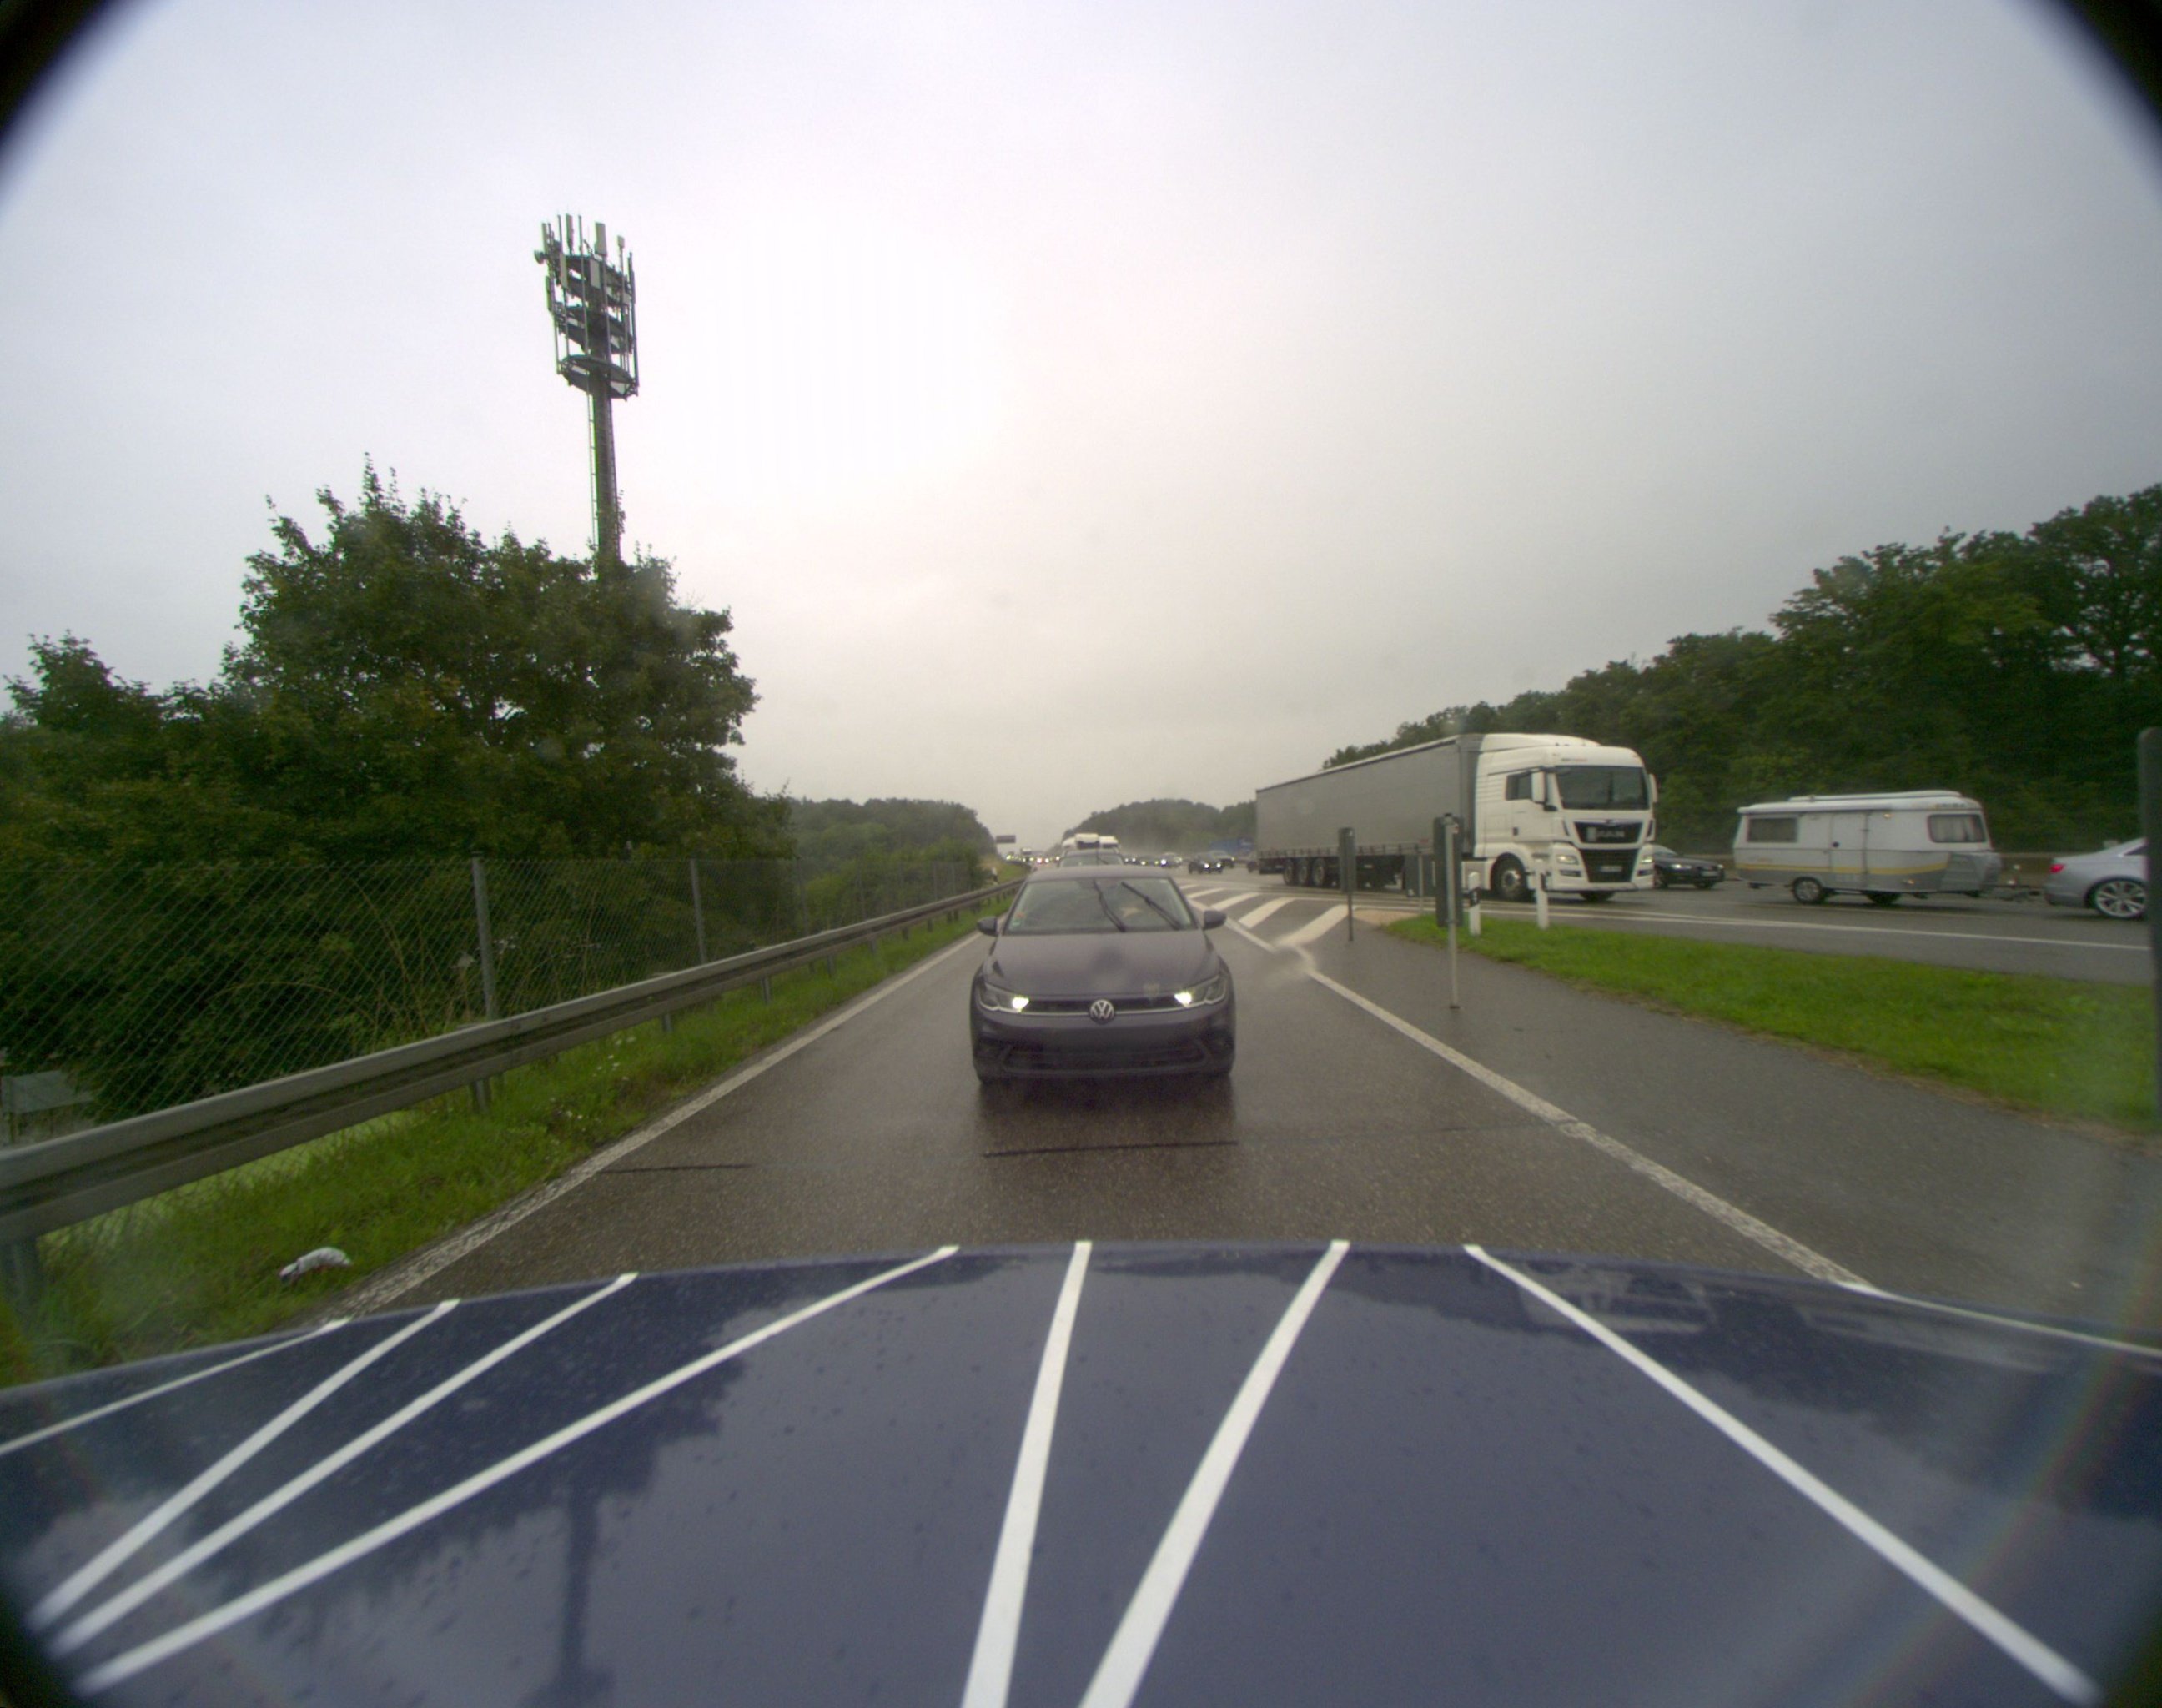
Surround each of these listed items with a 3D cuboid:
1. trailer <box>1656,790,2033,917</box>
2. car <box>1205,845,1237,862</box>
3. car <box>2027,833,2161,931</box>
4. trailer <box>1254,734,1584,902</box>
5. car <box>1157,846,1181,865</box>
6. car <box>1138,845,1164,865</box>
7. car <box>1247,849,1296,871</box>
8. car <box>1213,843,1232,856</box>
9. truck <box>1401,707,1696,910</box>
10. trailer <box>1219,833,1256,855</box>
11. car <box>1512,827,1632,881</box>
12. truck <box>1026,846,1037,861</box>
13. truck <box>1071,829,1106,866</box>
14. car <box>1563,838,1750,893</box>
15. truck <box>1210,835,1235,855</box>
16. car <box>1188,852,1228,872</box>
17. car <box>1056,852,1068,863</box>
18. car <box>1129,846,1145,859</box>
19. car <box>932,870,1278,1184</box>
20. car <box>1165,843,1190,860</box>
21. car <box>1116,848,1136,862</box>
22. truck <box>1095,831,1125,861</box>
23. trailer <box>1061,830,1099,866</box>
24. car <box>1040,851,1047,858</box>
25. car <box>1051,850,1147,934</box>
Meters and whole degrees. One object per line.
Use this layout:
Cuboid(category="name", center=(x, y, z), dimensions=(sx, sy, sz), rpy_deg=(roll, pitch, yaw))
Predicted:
Cuboid(category="trailer", center=(15.052, 0.006, 15.558), dimensions=(2.136, 2.143, 5.175), rpy_deg=(0, 0, -10))
Cuboid(category="car", center=(13.983, -0.070, 75.974), dimensions=(1.824, 1.659, 4.400), rpy_deg=(0, 1, -9))
Cuboid(category="car", center=(15.837, 0.371, 9.589), dimensions=(1.852, 1.340, 4.578), rpy_deg=(0, 0, -10))
Cuboid(category="trailer", center=(9.720, -0.822, 25.161), dimensions=(2.904, 3.959, 14.108), rpy_deg=(-1, 0, -8))
Cuboid(category="car", center=(9.525, 0.144, 82.472), dimensions=(1.862, 2.002, 3.998), rpy_deg=(-1, 0, -5))
Cuboid(category="car", center=(6.849, 0.125, 74.971), dimensions=(1.766, 1.892, 3.998), rpy_deg=(-3, 0, -5))
Cuboid(category="car", center=(13.222, 0.423, 52.874), dimensions=(1.824, 1.405, 4.121), rpy_deg=(-1, -1, -9))
Cuboid(category="car", center=(22.377, -0.775, 120.343), dimensions=(1.999, 2.002, 3.998), rpy_deg=(-1, 0, -6))
Cuboid(category="truck", center=(10.716, -0.898, 18.253), dimensions=(2.882, 4.028, 5.930), rpy_deg=(-1, 0, -8))
Cuboid(category="trailer", center=(26.148, -1.645, 127.850), dimensions=(2.740, 3.397, 11.393), rpy_deg=(-2, 0, -5))
Cuboid(category="car", center=(20.463, 0.034, 31.907), dimensions=(1.942, 2.002, 3.997), rpy_deg=(-4, 0, -10))
Cuboid(category="truck", center=(-13.776, -0.133, 211.609), dimensions=(2.597, 4.120, 5.230), rpy_deg=(-5, 0, -2))
Cuboid(category="truck", center=(0.789, -0.719, 85.966), dimensions=(2.759, 3.985, 6.503), rpy_deg=(-2, 0, -9))
Cuboid(category="car", center=(17.611, 0.310, 23.601), dimensions=(2.000, 1.531, 4.524), rpy_deg=(-1, 0, -8))
Cuboid(category="truck", center=(25.361, -1.648, 136.383), dimensions=(2.770, 3.395, 5.707), rpy_deg=(-2, 0, -6))
Cuboid(category="car", center=(9.143, 0.579, 54.968), dimensions=(1.823, 1.364, 3.998), rpy_deg=(-1, 0, -6))
Cuboid(category="car", center=(-3.799, 0.693, 153.738), dimensions=(1.927, 1.852, 3.997), rpy_deg=(-7, 2, -5))
Cuboid(category="car", center=(8.774, -0.268, 119.582), dimensions=(1.999, 2.002, 3.999), rpy_deg=(-2, 1, -3))
Cuboid(category="car", center=(0.132, 0.930, 6.013), dimensions=(1.670, 1.394, 4.261), rpy_deg=(-4, 0, 0))
Cuboid(category="car", center=(12.153, -0.326, 95.634), dimensions=(2.000, 2.002, 3.997), rpy_deg=(-2, 0, -9))
Cuboid(category="car", center=(6.420, 0.160, 109.018), dimensions=(2.000, 2.002, 4.109), rpy_deg=(-2, 0, -9))
Cuboid(category="truck", center=(3.752, -0.975, 98.159), dimensions=(2.698, 3.635, 5.321), rpy_deg=(-5, 1, -8))
Cuboid(category="trailer", center=(-0.230, -0.654, 92.239), dimensions=(2.771, 4.002, 11.033), rpy_deg=(-2, 0, -9))
Cuboid(category="car", center=(-10.857, 0.095, 219.360), dimensions=(1.775, 1.668, 3.997), rpy_deg=(-4, 1, -6))
Cuboid(category="car", center=(0.429, 0.760, 17.381), dimensions=(1.810, 1.532, 4.000), rpy_deg=(-5, 0, 2))
